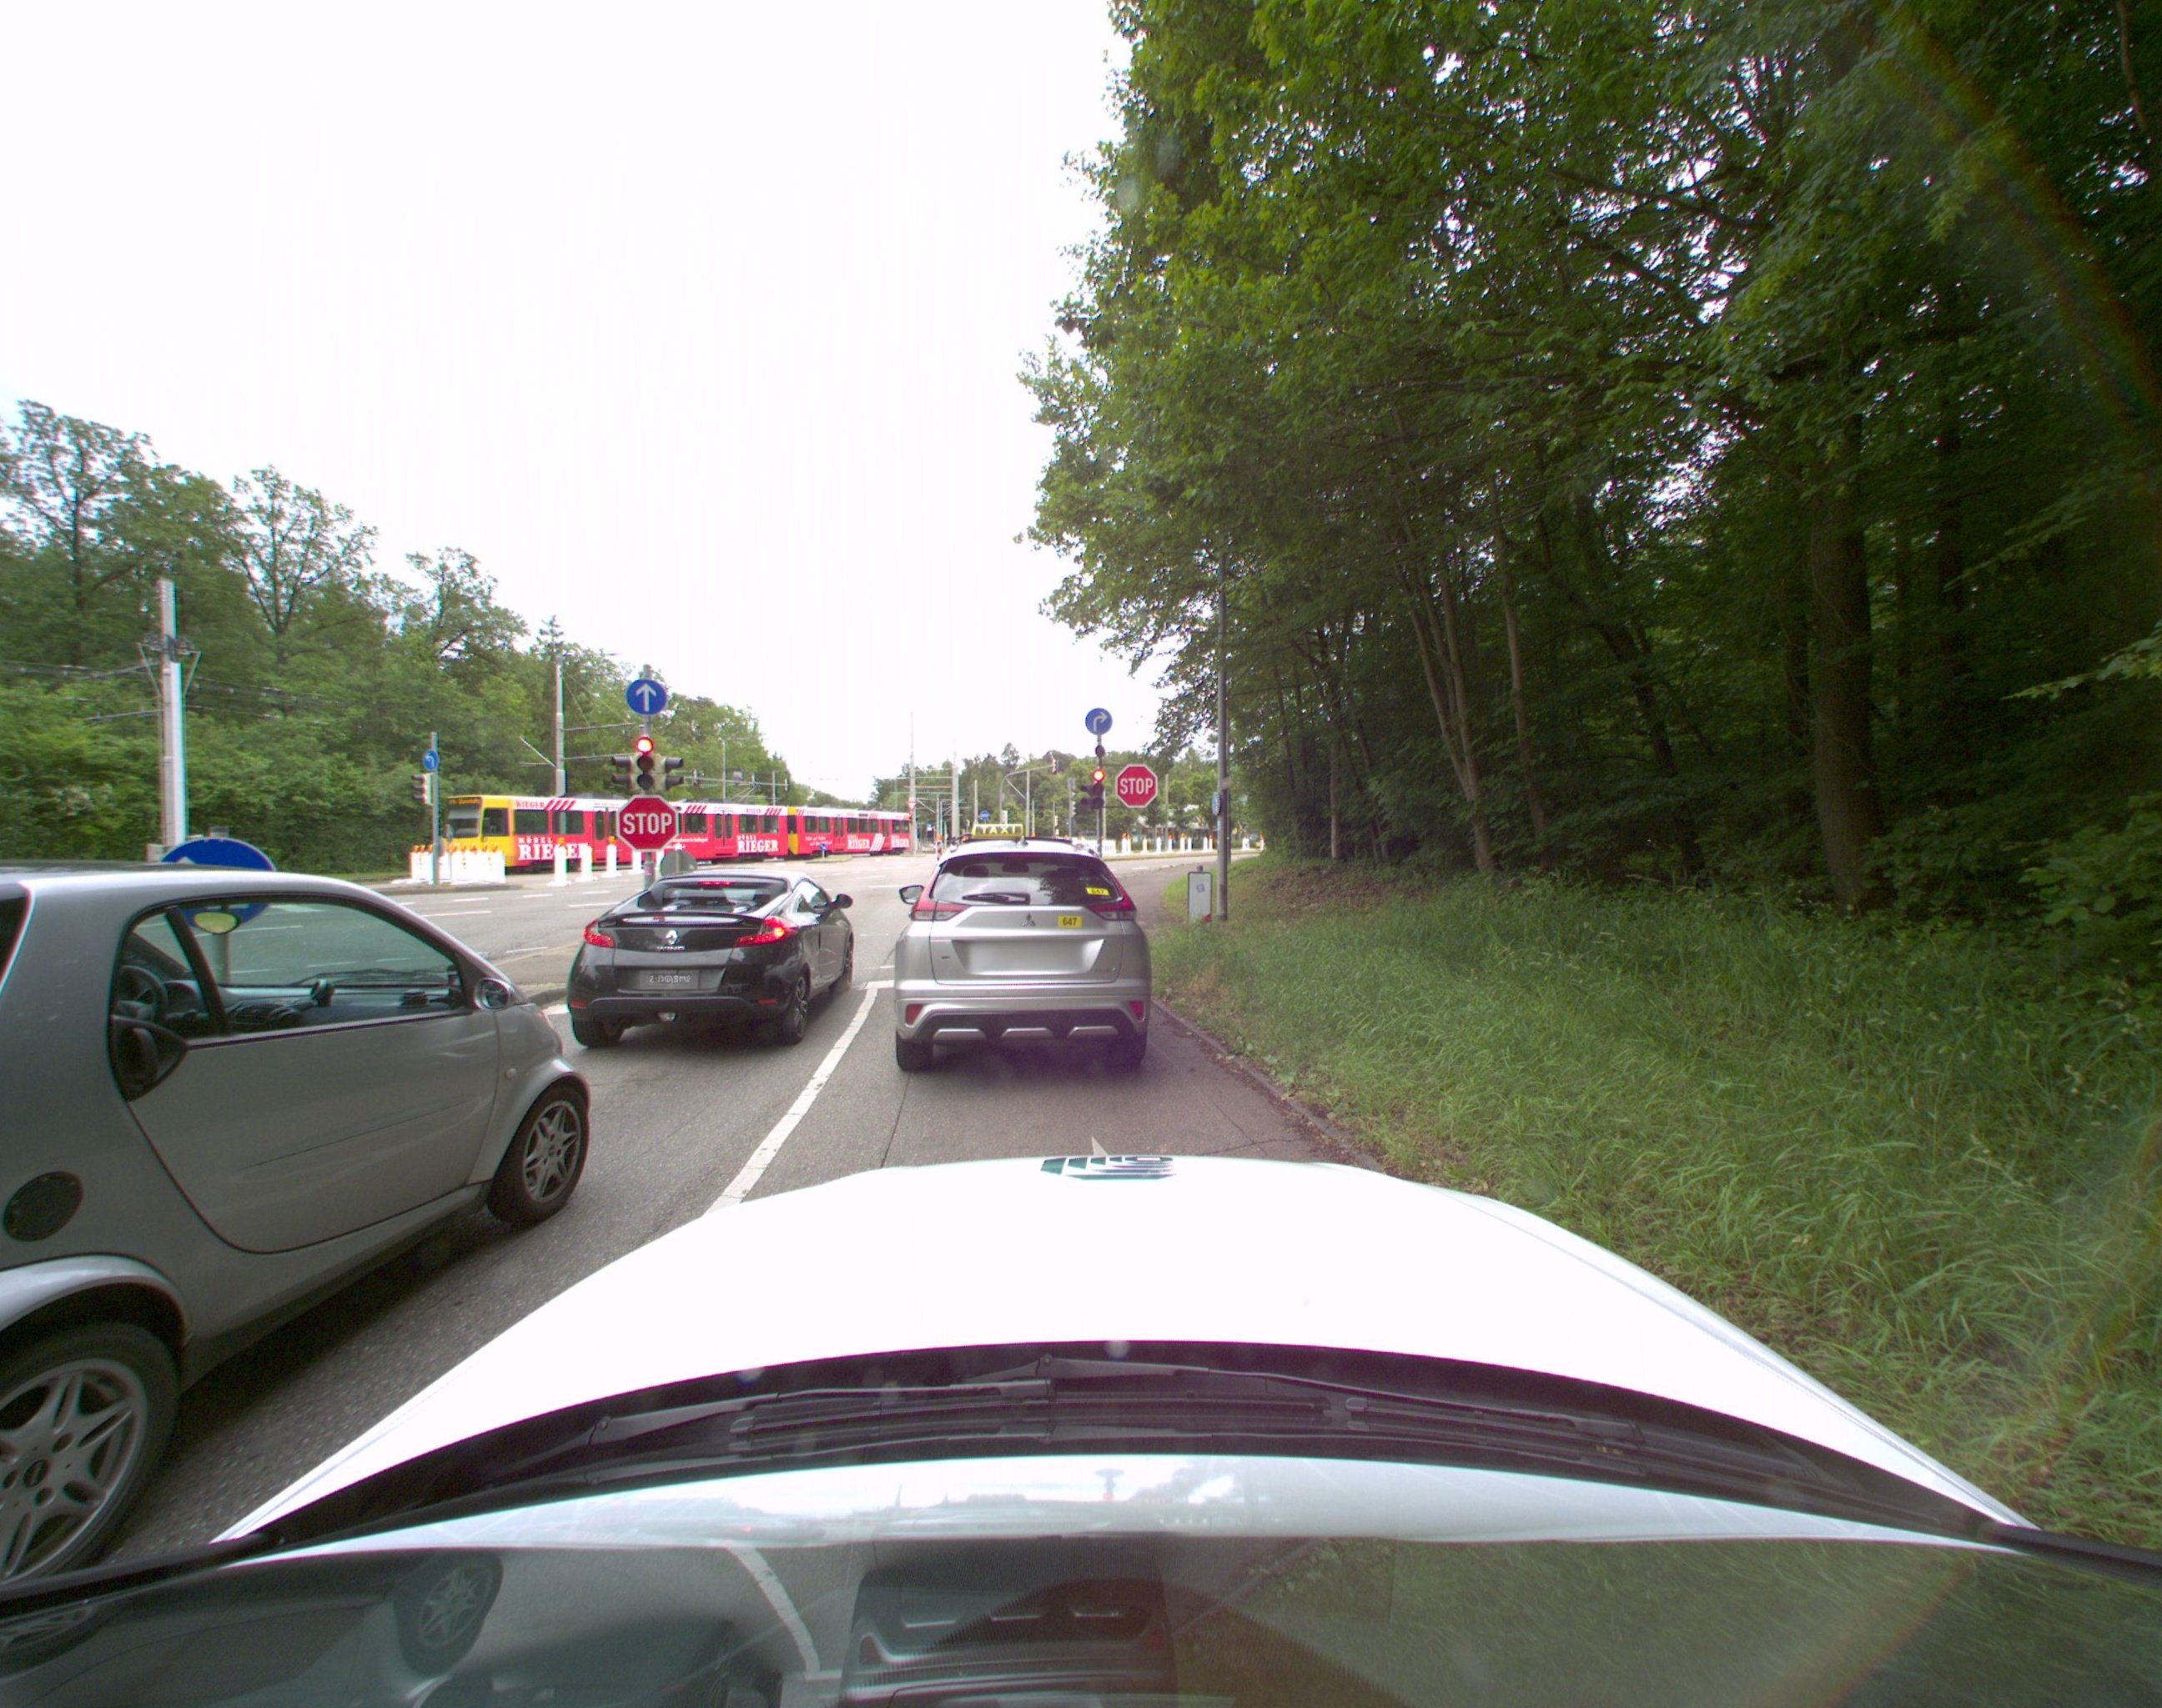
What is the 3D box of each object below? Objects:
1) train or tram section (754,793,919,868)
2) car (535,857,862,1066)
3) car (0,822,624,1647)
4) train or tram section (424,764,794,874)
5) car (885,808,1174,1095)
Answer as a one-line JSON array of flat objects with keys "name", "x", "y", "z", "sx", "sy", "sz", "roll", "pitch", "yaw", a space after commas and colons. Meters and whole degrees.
[{"name": "train or tram section", "x": -17.222, "y": -1.421, "z": 60.364, "sx": 2.926, "sy": 4.650, "sz": 18.609, "roll": -1, "pitch": 0, "yaw": 13}, {"name": "car", "x": -3.181, "y": 0.760, "z": 7.567, "sx": 1.773, "sy": 1.361, "sz": 3.466, "roll": -1, "pitch": 1, "yaw": -9}, {"name": "car", "x": -2.899, "y": 0.733, "z": 2.583, "sx": 1.455, "sy": 1.586, "sz": 2.724, "roll": -1, "pitch": 1, "yaw": -4}, {"name": "train or tram section", "x": -22.506, "y": -1.348, "z": 42.072, "sx": 2.930, "sy": 4.418, "sz": 18.826, "roll": -1, "pitch": -1, "yaw": 21}, {"name": "car", "x": -0.512, "y": 0.585, "z": 6.959, "sx": 1.772, "sy": 1.748, "sz": 3.772, "roll": 1, "pitch": 1, "yaw": -7}]
